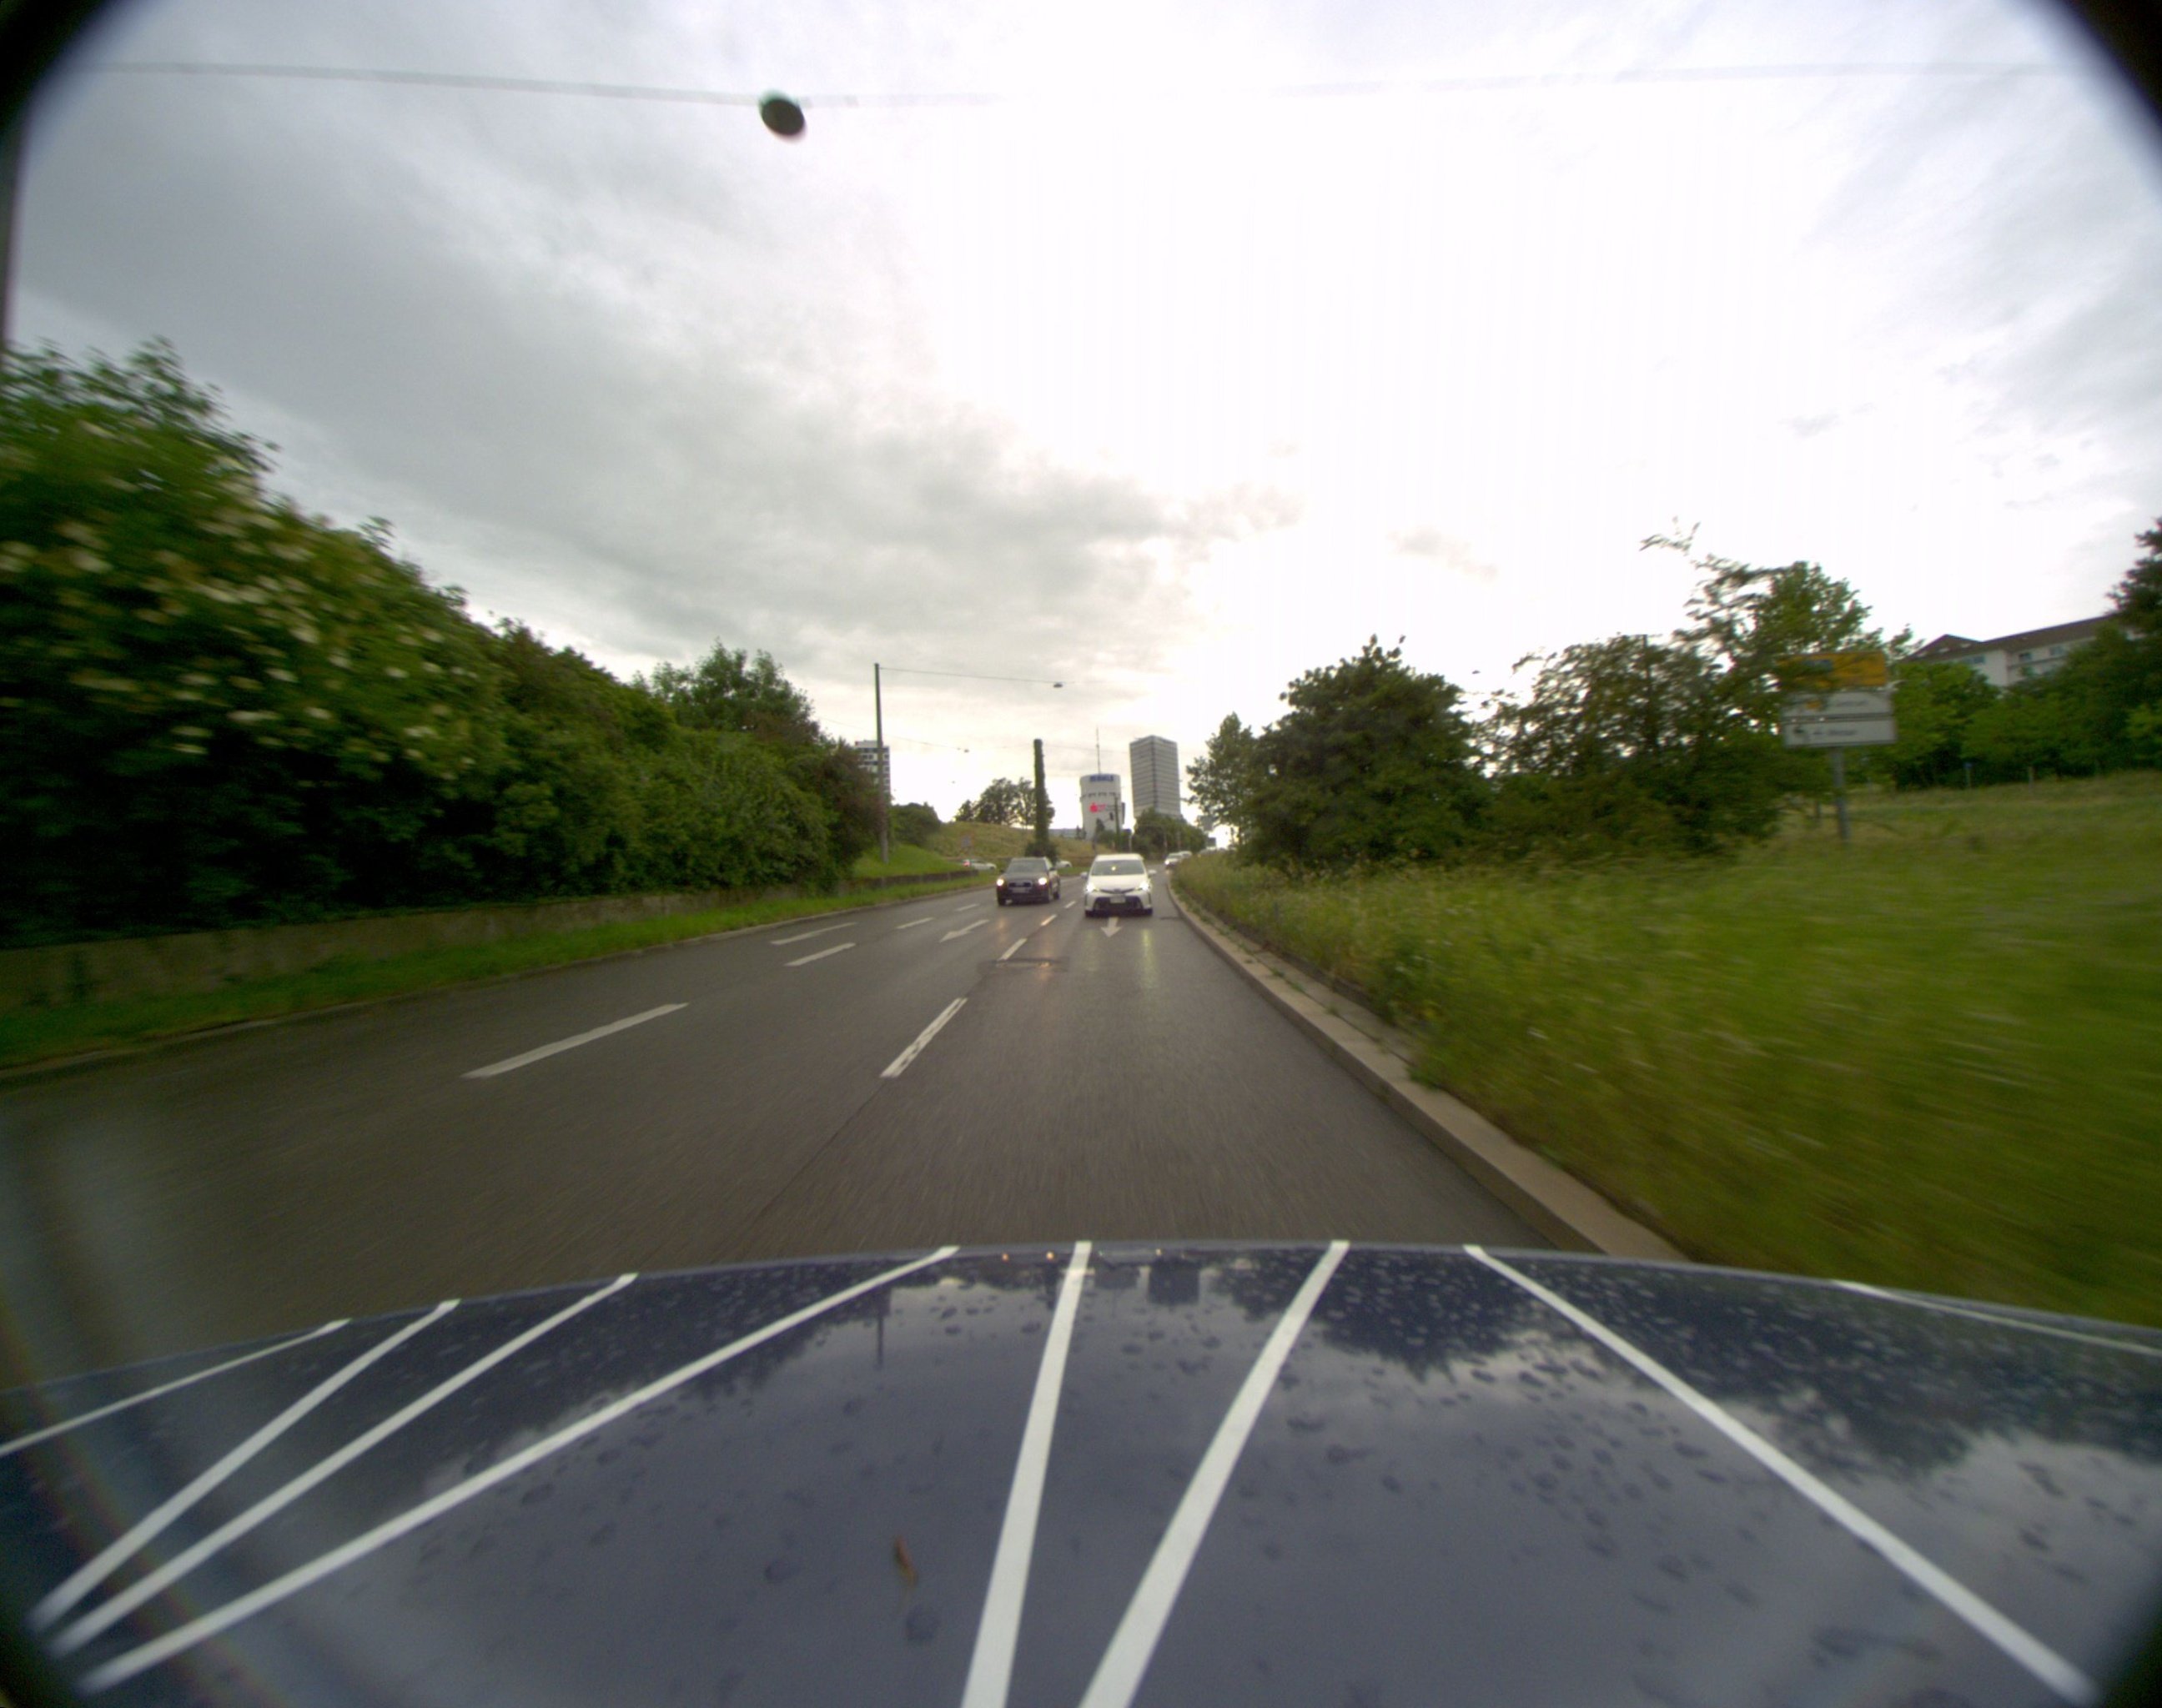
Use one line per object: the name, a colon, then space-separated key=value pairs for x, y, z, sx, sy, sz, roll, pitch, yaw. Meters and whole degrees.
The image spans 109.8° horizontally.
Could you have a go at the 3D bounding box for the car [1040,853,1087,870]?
car: x=-1.913 y=0.800 z=83.973 sx=4.999 sy=1.636 sz=2.070 roll=-3 pitch=0 yaw=-39

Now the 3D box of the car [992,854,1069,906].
car: x=-1.714 y=0.870 z=27.141 sx=1.926 sy=1.591 sz=4.281 roll=-2 pitch=0 yaw=7

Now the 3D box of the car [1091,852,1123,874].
car: x=1.759 y=0.626 z=52.657 sx=1.846 sy=1.377 sz=3.999 roll=-3 pitch=0 yaw=-2

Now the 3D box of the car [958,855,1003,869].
car: x=-10.622 y=0.852 z=80.775 sx=4.280 sy=1.419 sz=2.070 roll=0 pitch=-2 yaw=-40

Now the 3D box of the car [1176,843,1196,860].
car: x=11.809 y=-0.274 z=85.123 sx=1.997 sy=1.761 sz=4.003 roll=-3 pitch=0 yaw=10

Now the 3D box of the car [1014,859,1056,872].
car: x=-5.153 y=1.270 z=85.672 sx=4.563 sy=1.342 sz=1.839 roll=0 pitch=-2 yaw=-41

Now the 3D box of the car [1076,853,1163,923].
car: x=1.175 y=0.835 z=20.819 sx=1.923 sy=1.604 sz=4.378 roll=-3 pitch=0 yaw=8

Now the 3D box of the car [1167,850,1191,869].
car: x=9.666 y=0.507 z=74.726 sx=1.997 sy=1.761 sz=4.003 roll=-3 pitch=0 yaw=12
